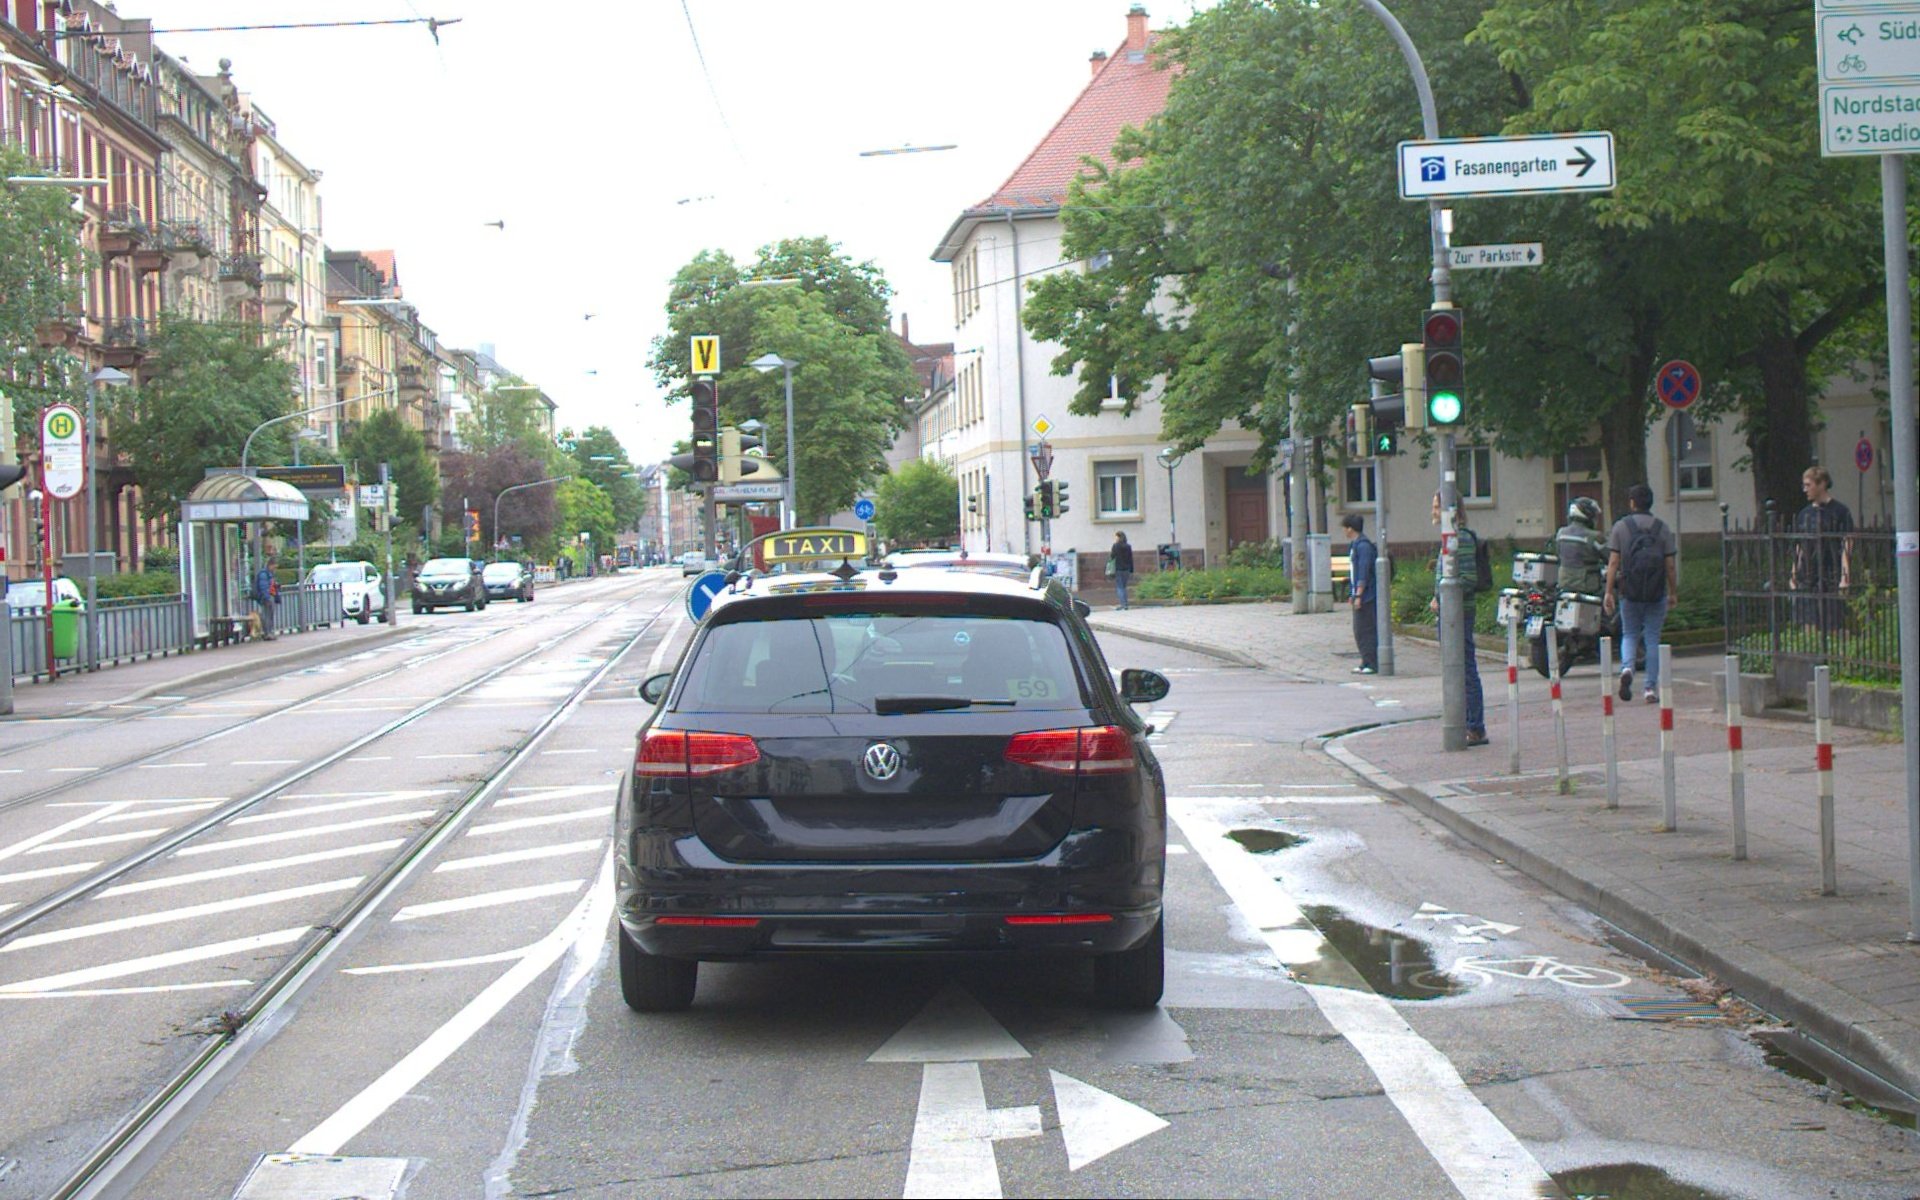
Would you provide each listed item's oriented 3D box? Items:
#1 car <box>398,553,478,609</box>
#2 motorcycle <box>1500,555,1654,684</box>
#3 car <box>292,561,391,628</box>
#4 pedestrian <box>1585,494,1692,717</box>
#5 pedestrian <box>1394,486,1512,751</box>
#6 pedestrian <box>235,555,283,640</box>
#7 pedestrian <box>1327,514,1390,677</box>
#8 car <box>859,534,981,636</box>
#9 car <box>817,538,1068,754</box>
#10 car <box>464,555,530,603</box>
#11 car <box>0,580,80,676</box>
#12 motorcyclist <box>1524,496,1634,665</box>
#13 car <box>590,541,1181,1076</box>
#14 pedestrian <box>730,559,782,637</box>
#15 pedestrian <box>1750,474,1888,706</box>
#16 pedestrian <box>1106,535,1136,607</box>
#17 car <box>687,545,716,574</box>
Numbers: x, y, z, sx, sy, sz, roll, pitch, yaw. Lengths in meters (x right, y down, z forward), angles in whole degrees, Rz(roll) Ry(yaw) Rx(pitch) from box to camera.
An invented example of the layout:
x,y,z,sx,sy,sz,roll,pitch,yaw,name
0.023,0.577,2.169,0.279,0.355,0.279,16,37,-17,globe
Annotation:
x,y,z,sx,sy,sz,roll,pitch,yaw,name
-15.662,-0.592,103.268,1.795,1.590,4.000,-2,1,-1,car
6.296,0.190,35.017,1.901,1.231,0.448,-3,1,-42,motorcycle
-15.674,-0.163,87.297,1.795,1.590,4.000,-2,1,-1,car
5.631,0.041,28.560,0.632,1.808,0.726,-2,1,-6,pedestrian
3.504,0.125,24.474,0.585,1.824,0.604,-5,1,-2,pedestrian
-12.706,-0.048,62.351,0.714,1.515,0.590,-2,1,-2,pedestrian
4.582,-0.051,39.539,0.514,1.824,0.418,-5,1,-2,pedestrian
-0.677,-0.265,55.427,1.723,1.541,4.001,-2,1,-4,car
-0.209,0.308,27.251,1.723,1.541,4.001,-2,1,-4,car
-16.327,-0.746,121.281,1.795,1.590,4.000,-2,1,-1,car
-14.806,0.431,52.904,1.686,1.378,3.857,-2,1,-3,car
6.302,-0.200,34.998,0.802,1.686,0.705,-3,1,-43,motorcyclist
-0.341,0.587,12.226,1.723,1.541,4.001,-2,1,-4,car
-3.497,-0.033,58.897,0.823,1.300,0.569,-2,1,-4,pedestrian
6.897,-0.081,27.622,0.651,1.824,0.800,-3,1,-44,pedestrian
3.506,-0.642,74.823,0.581,1.548,0.609,-2,1,-1,pedestrian
-18.668,-2.928,248.630,2.032,2.007,4.000,-1,0,-4,car
